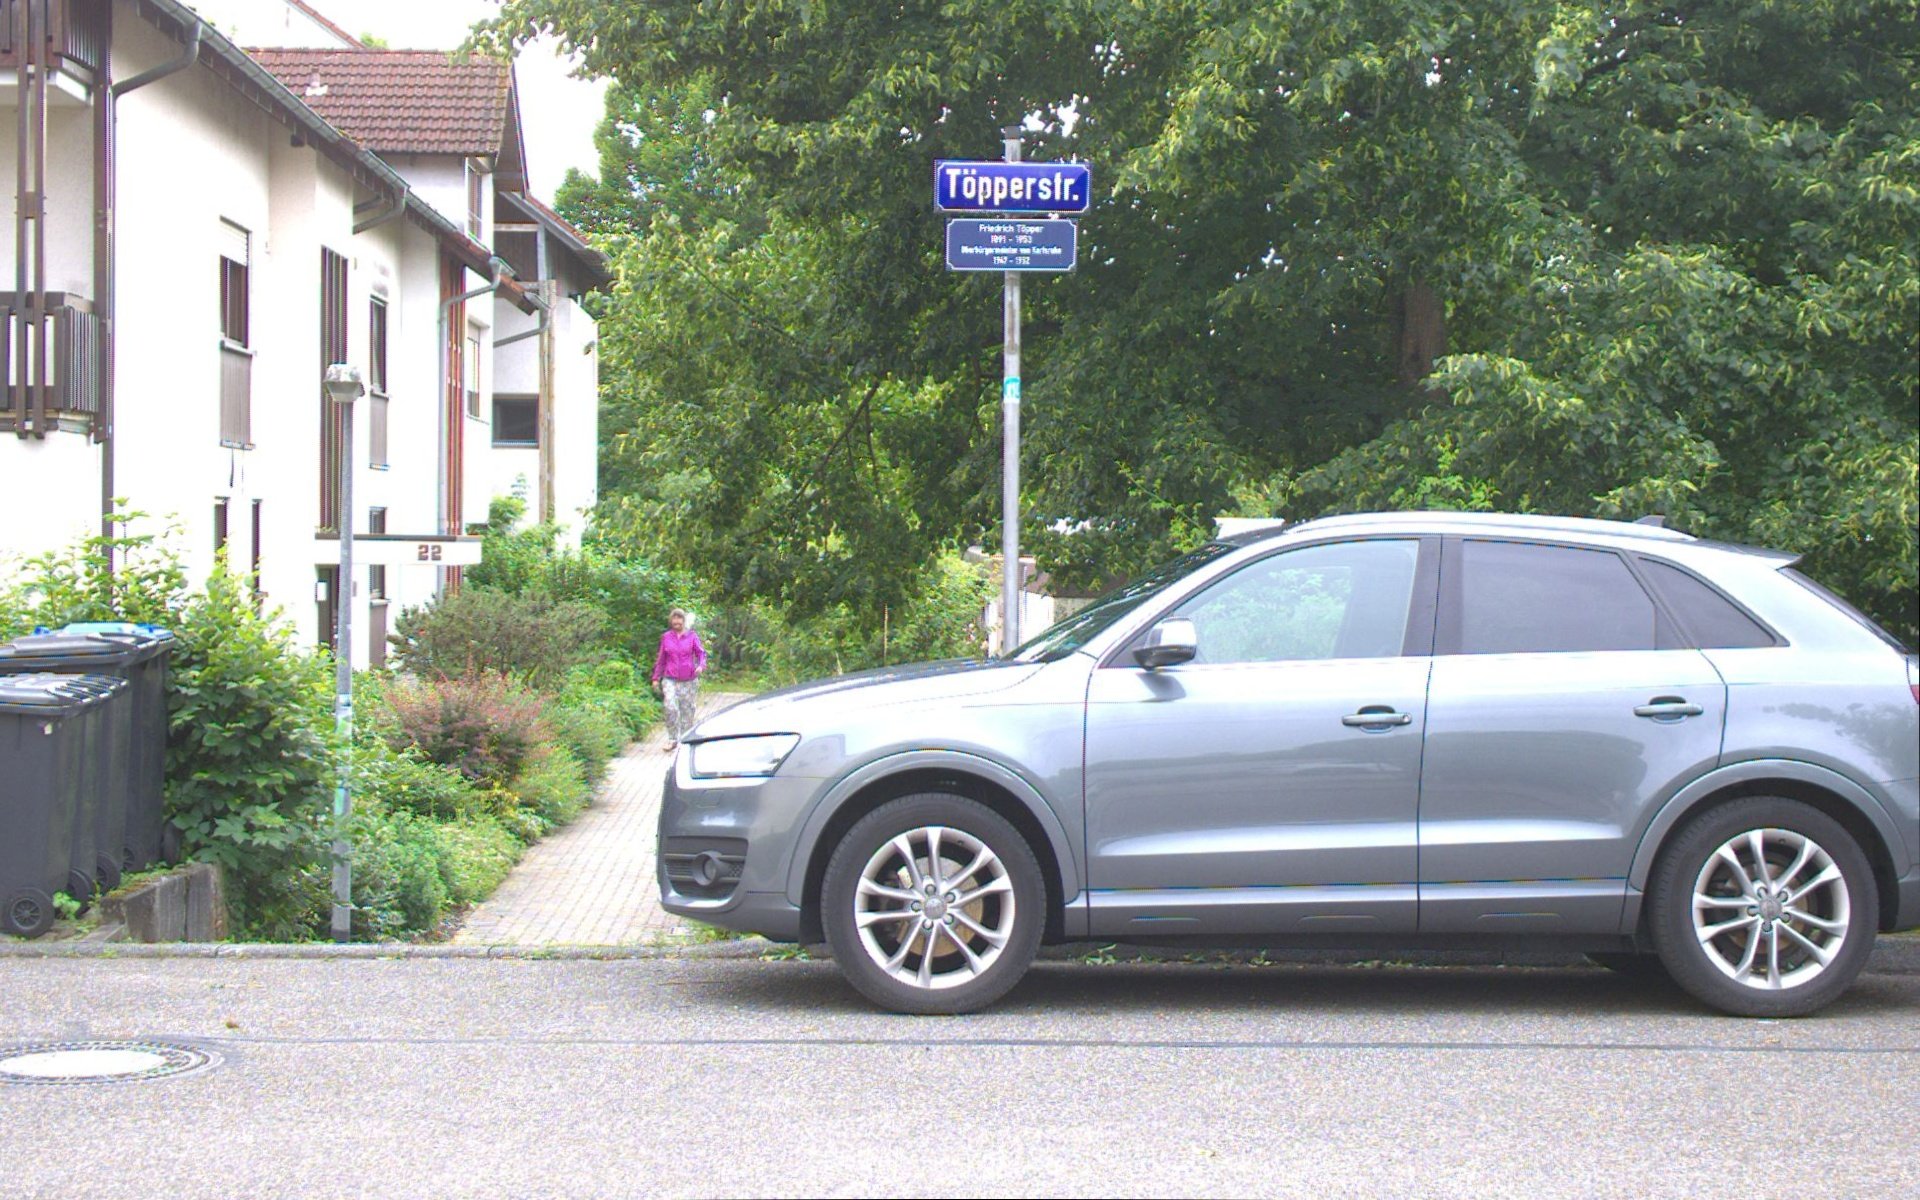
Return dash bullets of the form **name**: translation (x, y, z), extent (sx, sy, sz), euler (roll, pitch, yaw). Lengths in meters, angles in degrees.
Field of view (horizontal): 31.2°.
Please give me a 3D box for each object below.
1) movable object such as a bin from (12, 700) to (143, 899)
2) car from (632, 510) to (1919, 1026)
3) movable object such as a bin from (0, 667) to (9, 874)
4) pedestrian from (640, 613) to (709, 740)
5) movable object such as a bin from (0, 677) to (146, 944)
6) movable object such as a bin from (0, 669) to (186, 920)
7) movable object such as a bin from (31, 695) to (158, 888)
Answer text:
- **movable object such as a bin**: translation (-3.694, 0.830, 14.406), extent (0.459, 0.795, 0.379), euler (1, 1, -4)
- **car**: translation (1.106, 0.523, 11.265), extent (4.236, 1.526, 1.747), euler (1, -1, -2)
- **movable object such as a bin**: translation (-4.304, 0.732, 14.688), extent (0.386, 0.886, 0.379), euler (1, 1, -4)
- **pedestrian**: translation (-3.414, 0.911, 41.122), extent (0.815, 1.512, 0.438), euler (0, 0, -4)
- **movable object such as a bin**: translation (-3.513, 0.792, 13.148), extent (0.638, 0.950, 0.723), euler (1, 1, -3)
- **movable object such as a bin**: translation (-3.554, 0.775, 13.865), extent (0.733, 0.950, 0.584), euler (1, 1, -2)
- **movable object such as a bin**: translation (-3.728, 0.821, 14.818), extent (0.459, 0.795, 0.379), euler (1, 1, -4)
